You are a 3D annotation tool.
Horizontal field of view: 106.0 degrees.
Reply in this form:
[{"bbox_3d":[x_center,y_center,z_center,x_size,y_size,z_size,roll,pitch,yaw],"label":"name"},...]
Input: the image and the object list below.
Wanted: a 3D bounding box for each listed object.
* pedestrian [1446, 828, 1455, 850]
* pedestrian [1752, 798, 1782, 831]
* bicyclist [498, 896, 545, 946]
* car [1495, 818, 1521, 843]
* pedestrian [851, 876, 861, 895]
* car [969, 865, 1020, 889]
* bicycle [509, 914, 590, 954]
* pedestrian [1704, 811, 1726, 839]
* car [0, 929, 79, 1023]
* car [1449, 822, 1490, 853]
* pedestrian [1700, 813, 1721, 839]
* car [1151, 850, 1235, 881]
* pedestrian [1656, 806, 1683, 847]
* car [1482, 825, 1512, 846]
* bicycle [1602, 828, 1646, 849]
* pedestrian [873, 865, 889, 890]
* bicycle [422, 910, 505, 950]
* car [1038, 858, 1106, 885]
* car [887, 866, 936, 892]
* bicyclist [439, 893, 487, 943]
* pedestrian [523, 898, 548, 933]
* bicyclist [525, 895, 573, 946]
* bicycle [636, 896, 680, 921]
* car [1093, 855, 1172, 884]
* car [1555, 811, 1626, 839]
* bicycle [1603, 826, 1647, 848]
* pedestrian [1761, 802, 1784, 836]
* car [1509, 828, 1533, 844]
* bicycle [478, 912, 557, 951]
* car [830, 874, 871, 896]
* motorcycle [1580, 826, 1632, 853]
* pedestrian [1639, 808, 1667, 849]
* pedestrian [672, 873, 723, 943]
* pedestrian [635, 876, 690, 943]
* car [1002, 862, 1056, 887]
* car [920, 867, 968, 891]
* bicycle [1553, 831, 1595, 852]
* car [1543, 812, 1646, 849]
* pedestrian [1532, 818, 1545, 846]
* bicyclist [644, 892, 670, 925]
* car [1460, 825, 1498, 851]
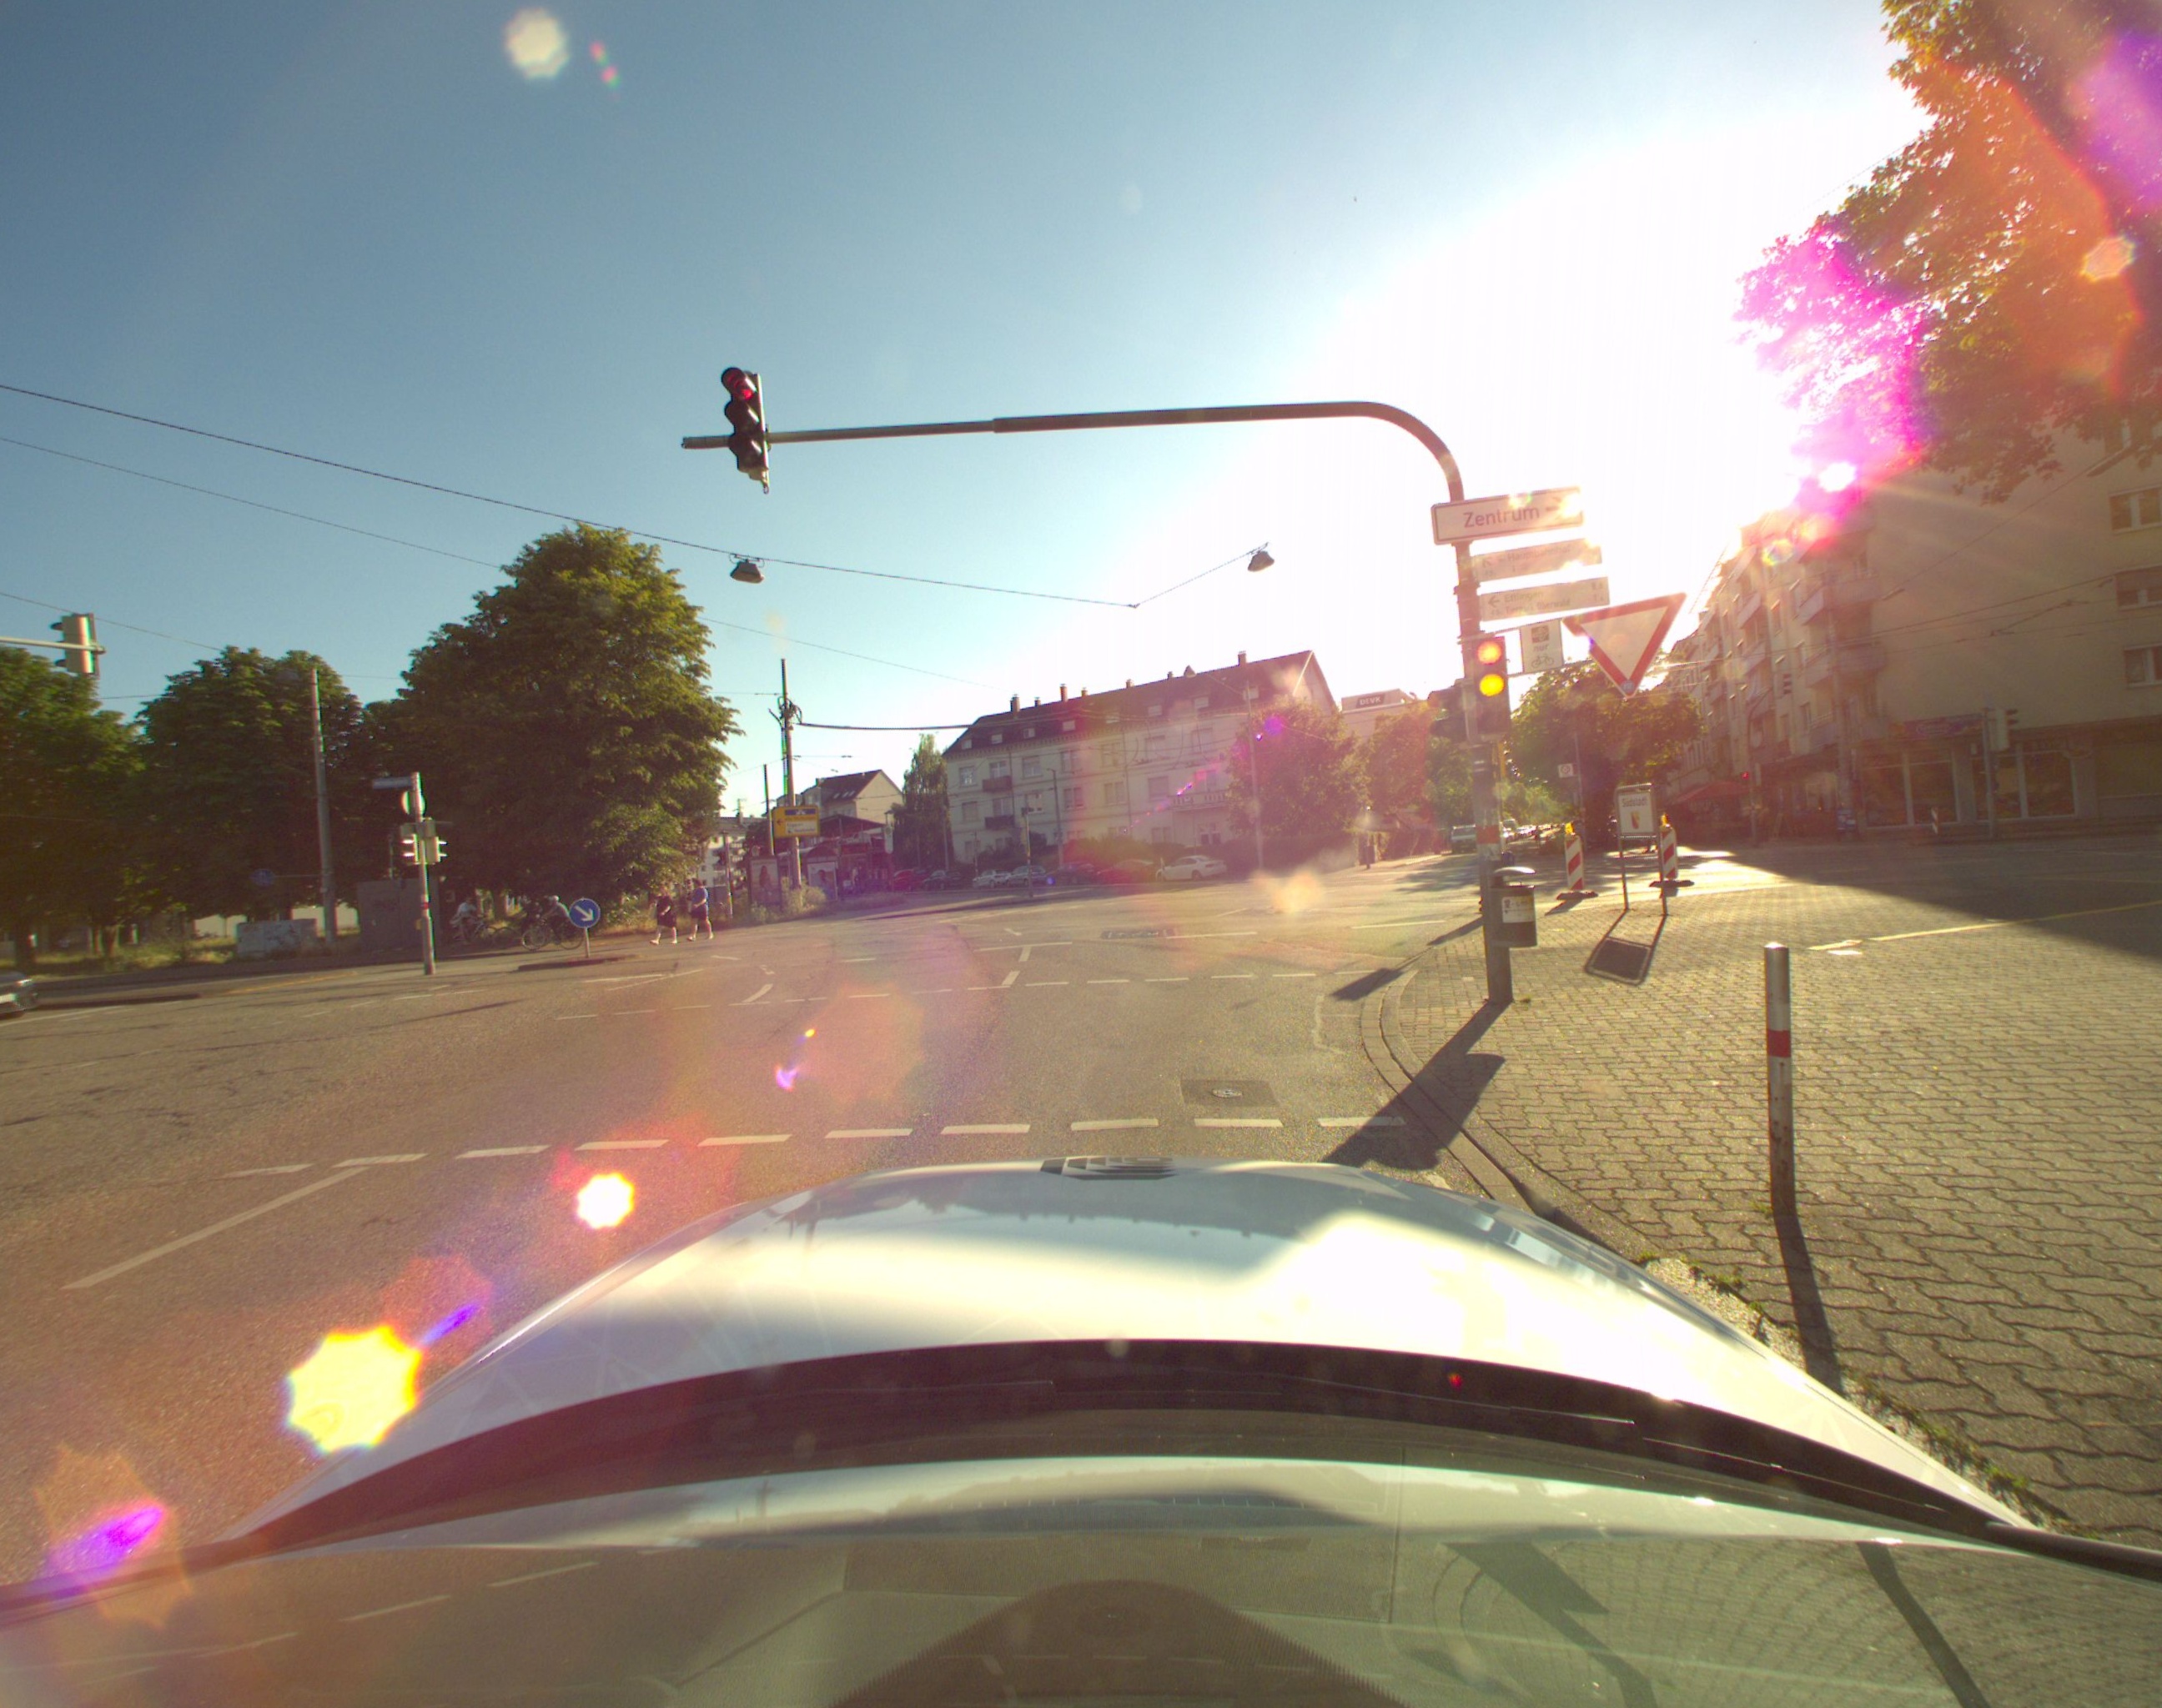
[{"bbox_3d":[30.269,-1.226,66.739,0.573,1.730,0.612,-4,-1,26],"label":"pedestrian"},{"bbox_3d":[34.139,-1.951,40.529,0.804,1.544,0.919,-5,-1,25],"label":"pedestrian"},{"bbox_3d":[-18.716,2.234,27.270,1.035,1.532,0.657,-4,-1,-14],"label":"bicyclist"},{"bbox_3d":[47.953,-2.668,91.345,2.332,2.514,5.342,-5,-1,28],"label":"car"},{"bbox_3d":[-18.503,2.574,67.037,0.569,1.500,0.672,-4,-1,-27],"label":"pedestrian"},{"bbox_3d":[-6.581,1.750,61.676,1.855,1.447,3.912,-7,1,-39],"label":"car"},{"bbox_3d":[-17.237,2.580,26.444,2.014,1.069,0.661,-4,-1,-13],"label":"bicycle"},{"bbox_3d":[33.381,-1.518,42.909,0.803,1.362,0.920,-5,-1,36],"label":"pedestrian"},{"bbox_3d":[-21.388,2.371,14.631,4.415,1.567,2.057,-4,0,5],"label":"car"},{"bbox_3d":[28.393,-1.215,59.446,2.332,2.013,5.342,-5,-1,28],"label":"car"},{"bbox_3d":[34.061,-1.513,44.063,0.803,1.362,0.920,-5,-1,36],"label":"pedestrian"},{"bbox_3d":[6.276,0.688,46.125,1.941,1.376,4.443,-7,1,-40],"label":"car"},{"bbox_3d":[25.854,-1.198,35.778,0.799,1.750,0.685,-4,-1,-43],"label":"pedestrian"},{"bbox_3d":[39.723,-1.768,77.670,2.332,1.795,5.342,-5,-1,28],"label":"car"},{"bbox_3d":[26.875,-0.760,40.322,1.707,0.932,0.565,-5,-1,31],"label":"bicycle"},{"bbox_3d":[-16.232,1.903,65.990,0.928,2.013,0.760,-4,-1,-34],"label":"pedestrian"},{"bbox_3d":[-21.637,2.651,28.581,2.193,1.142,0.698,-4,-1,-8],"label":"bicycle"},{"bbox_3d":[-0.663,1.215,54.797,1.998,1.447,4.650,-7,1,-39],"label":"car"},{"bbox_3d":[-15.197,2.259,72.763,2.067,1.961,5.091,-7,1,-39],"label":"car"},{"bbox_3d":[-21.698,2.222,28.586,1.038,1.629,0.711,-4,-1,-8],"label":"bicyclist"},{"bbox_3d":[-30.866,3.499,46.081,0.933,1.872,0.691,-4,-1,26],"label":"pedestrian"},{"bbox_3d":[-17.279,2.158,26.460,1.035,1.532,0.695,-4,-1,-13],"label":"bicyclist"},{"bbox_3d":[-22.262,2.860,42.902,0.656,1.069,2.030,-4,0,21],"label":"bicycle"},{"bbox_3d":[3.130,0.959,50.196,1.999,1.376,4.647,-7,1,-44],"label":"car"},{"bbox_3d":[44.688,-2.488,71.618,5.042,1.924,2.377,-5,-3,28],"label":"car"},{"bbox_3d":[26.476,-0.808,39.658,1.707,0.932,0.565,-5,-1,31],"label":"bicycle"},{"bbox_3d":[33.787,-1.695,39.790,0.612,1.591,0.480,-4,-1,15],"label":"pedestrian"},{"bbox_3d":[56.653,-2.319,104.844,2.332,1.795,5.344,-5,-1,32],"label":"car"},{"bbox_3d":[-18.821,2.589,27.244,2.015,1.069,0.660,-4,-1,-14],"label":"bicycle"},{"bbox_3d":[-23.838,3.225,83.947,2.067,1.961,5.091,-7,1,-39],"label":"car"},{"bbox_3d":[24.974,-0.707,38.804,1.933,1.109,0.842,-5,-1,26],"label":"motorcycle"},{"bbox_3d":[25.863,-1.160,36.837,0.799,1.750,0.710,-4,-1,-38],"label":"pedestrian"},{"bbox_3d":[-11.254,1.568,23.920,0.910,1.925,1.066,-4,-1,-4],"label":"pedestrian"},{"bbox_3d":[-11.668,1.532,22.750,0.910,1.747,1.066,-4,-1,-4],"label":"pedestrian"},{"bbox_3d":[-3.738,1.478,58.115,1.998,1.447,3.676,-7,1,-39],"label":"car"},{"bbox_3d":[-11.401,2.098,67.628,1.855,1.667,4.319,-7,1,-39],"label":"car"},{"bbox_3d":[24.925,-0.628,41.199,1.707,0.932,0.676,-5,-1,31],"label":"bicycle"},{"bbox_3d":[34.258,-1.528,54.546,5.567,1.924,2.377,-5,-3,28],"label":"car"},{"bbox_3d":[30.922,-1.492,55.023,0.655,1.839,0.687,-4,-1,30],"label":"pedestrian"},{"bbox_3d":[-22.309,2.849,42.813,0.662,1.652,0.892,-4,-1,23],"label":"bicyclist"},{"bbox_3d":[31.698,-1.315,64.751,2.332,1.795,5.342,-5,-1,28],"label":"car"}]
